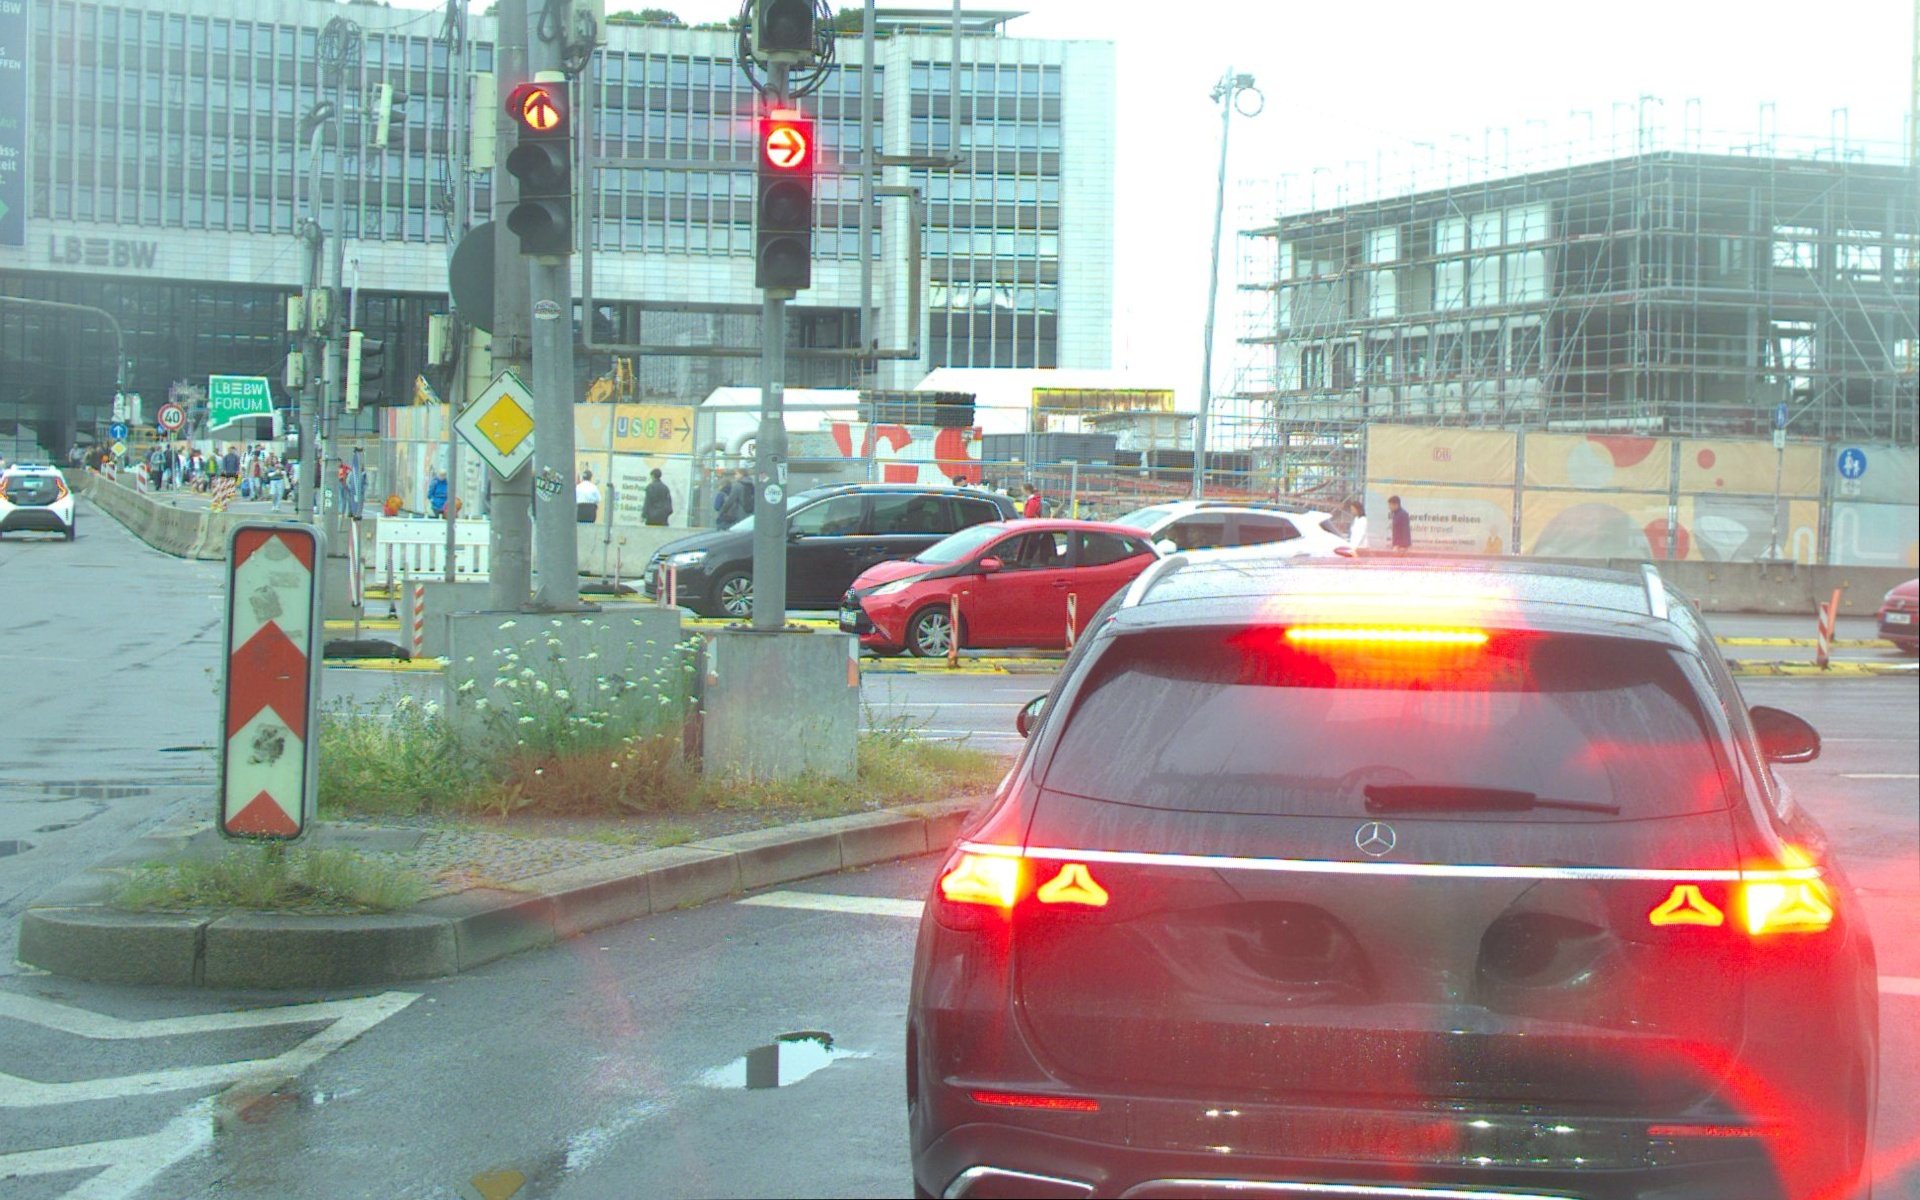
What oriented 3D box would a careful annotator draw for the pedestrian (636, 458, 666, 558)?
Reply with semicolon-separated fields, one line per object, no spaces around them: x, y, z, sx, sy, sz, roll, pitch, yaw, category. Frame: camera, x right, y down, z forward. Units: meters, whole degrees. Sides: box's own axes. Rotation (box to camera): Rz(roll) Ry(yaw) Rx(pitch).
-5.907;-1.753;65.774;0.361;1.891;0.576;2;0;-22;pedestrian

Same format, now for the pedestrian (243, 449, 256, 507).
-23.310;-4.001;112.780;0.361;1.891;0.576;2;0;-14;pedestrian

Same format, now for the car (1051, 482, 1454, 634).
3.307;-0.464;39.036;4.039;1.547;2.001;2;0;-19;car

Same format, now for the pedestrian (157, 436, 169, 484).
-32.190;-5.656;138.863;0.361;1.891;0.576;2;0;-18;pedestrian

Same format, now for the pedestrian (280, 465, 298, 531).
-19.371;-2.944;99.233;0.361;1.891;0.576;2;0;-18;pedestrian

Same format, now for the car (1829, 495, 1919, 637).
13.146;-0.358;42.849;3.985;1.702;2.001;2;0;-18;car

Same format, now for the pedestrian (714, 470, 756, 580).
-3.930;-1.308;60.119;0.575;1.891;0.362;2;0;21;pedestrian

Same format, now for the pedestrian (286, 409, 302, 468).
-21.527;-5.214;111.093;0.361;1.891;0.576;2;0;-18;pedestrian

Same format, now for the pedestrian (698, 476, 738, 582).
-4.375;-1.279;62.065;0.575;1.891;0.362;2;0;13;pedestrian

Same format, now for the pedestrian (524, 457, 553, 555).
-8.245;-1.838;67.246;0.361;1.891;0.576;2;0;-23;pedestrian

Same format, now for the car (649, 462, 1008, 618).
-1.640;-0.724;42.241;3.985;1.728;2.001;2;0;-16;car

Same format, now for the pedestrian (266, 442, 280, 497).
-24.242;-4.594;121.267;0.361;1.891;0.576;2;0;-18;pedestrian

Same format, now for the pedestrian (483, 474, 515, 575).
-8.720;-1.429;65.037;0.361;1.891;0.576;2;0;-26;pedestrian

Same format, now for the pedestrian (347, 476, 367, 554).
-14.697;-2.062;83.784;0.361;1.891;0.576;2;0;-18;pedestrian

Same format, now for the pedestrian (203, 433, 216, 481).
-29.887;-5.708;136.926;0.361;1.891;0.576;2;0;-18;pedestrian

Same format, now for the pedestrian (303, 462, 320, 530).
-18.421;-2.950;97.627;0.361;1.891;0.576;2;0;-18;pedestrian

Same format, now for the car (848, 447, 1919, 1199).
0.933;0.543;7.717;1.891;1.538;3.993;2;0;5;car

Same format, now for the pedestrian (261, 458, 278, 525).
-19.874;-3.116;98.994;0.361;1.891;0.576;2;0;-18;pedestrian

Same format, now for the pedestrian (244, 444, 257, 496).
-26.233;-4.794;127.133;0.361;1.891;0.576;2;0;-18;pedestrian

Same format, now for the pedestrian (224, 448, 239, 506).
-23.852;-4.019;112.512;0.361;1.891;0.576;2;0;-18;pedestrian

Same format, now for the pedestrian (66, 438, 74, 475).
-46.781;-7.544;180.734;0.361;1.891;0.576;2;0;-15;pedestrian

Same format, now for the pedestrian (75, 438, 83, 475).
-46.302;-7.527;180.663;0.361;1.891;0.576;2;0;-15;pedestrian

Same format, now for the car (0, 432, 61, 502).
-25.710;-3.600;93.440;1.993;1.760;4.420;2;0;-20;car

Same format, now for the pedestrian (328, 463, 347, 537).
-16.234;-2.606;89.648;0.361;1.891;0.576;2;0;-18;pedestrian

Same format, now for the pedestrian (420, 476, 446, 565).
-11.274;-1.705;73.549;0.361;1.891;0.576;2;0;-22;pedestrian

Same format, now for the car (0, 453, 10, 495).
-41.029;-5.321;144.339;1.727;1.634;3.436;2;3;-22;car

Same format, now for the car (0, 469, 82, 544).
-19.726;-1.978;73.299;1.780;1.468;3.560;2;0;-12;car

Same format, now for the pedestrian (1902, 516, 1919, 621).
17.711;-0.567;62.827;0.655;1.895;0.632;2;0;-14;pedestrian

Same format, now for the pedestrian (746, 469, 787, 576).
-3.449;-1.379;61.284;0.576;1.891;0.361;2;0;42;pedestrian

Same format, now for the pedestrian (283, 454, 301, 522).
-18.924;-3.165;97.401;0.361;1.891;0.576;2;0;-18;pedestrian

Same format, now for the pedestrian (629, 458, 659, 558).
-6.064;-1.759;65.905;0.361;1.891;0.576;2;0;-22;pedestrian

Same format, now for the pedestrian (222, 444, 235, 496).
-26.988;-4.783;126.853;0.361;1.891;0.576;2;0;-18;pedestrian

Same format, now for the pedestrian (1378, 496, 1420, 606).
7.626;-0.853;59.680;0.574;1.891;0.362;2;0;-11;pedestrian

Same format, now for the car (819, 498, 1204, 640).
0.515;-0.309;35.068;3.532;1.300;1.666;2;0;-19;car

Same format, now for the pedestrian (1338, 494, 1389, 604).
7.083;-0.898;60.378;0.655;1.895;0.632;2;0;-14;pedestrian

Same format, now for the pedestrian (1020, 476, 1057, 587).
1.349;-1.171;59.191;0.574;1.891;0.362;2;0;2;pedestrian

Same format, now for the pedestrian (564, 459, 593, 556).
-7.505;-1.814;67.646;0.361;1.891;0.576;2;0;-22;pedestrian
